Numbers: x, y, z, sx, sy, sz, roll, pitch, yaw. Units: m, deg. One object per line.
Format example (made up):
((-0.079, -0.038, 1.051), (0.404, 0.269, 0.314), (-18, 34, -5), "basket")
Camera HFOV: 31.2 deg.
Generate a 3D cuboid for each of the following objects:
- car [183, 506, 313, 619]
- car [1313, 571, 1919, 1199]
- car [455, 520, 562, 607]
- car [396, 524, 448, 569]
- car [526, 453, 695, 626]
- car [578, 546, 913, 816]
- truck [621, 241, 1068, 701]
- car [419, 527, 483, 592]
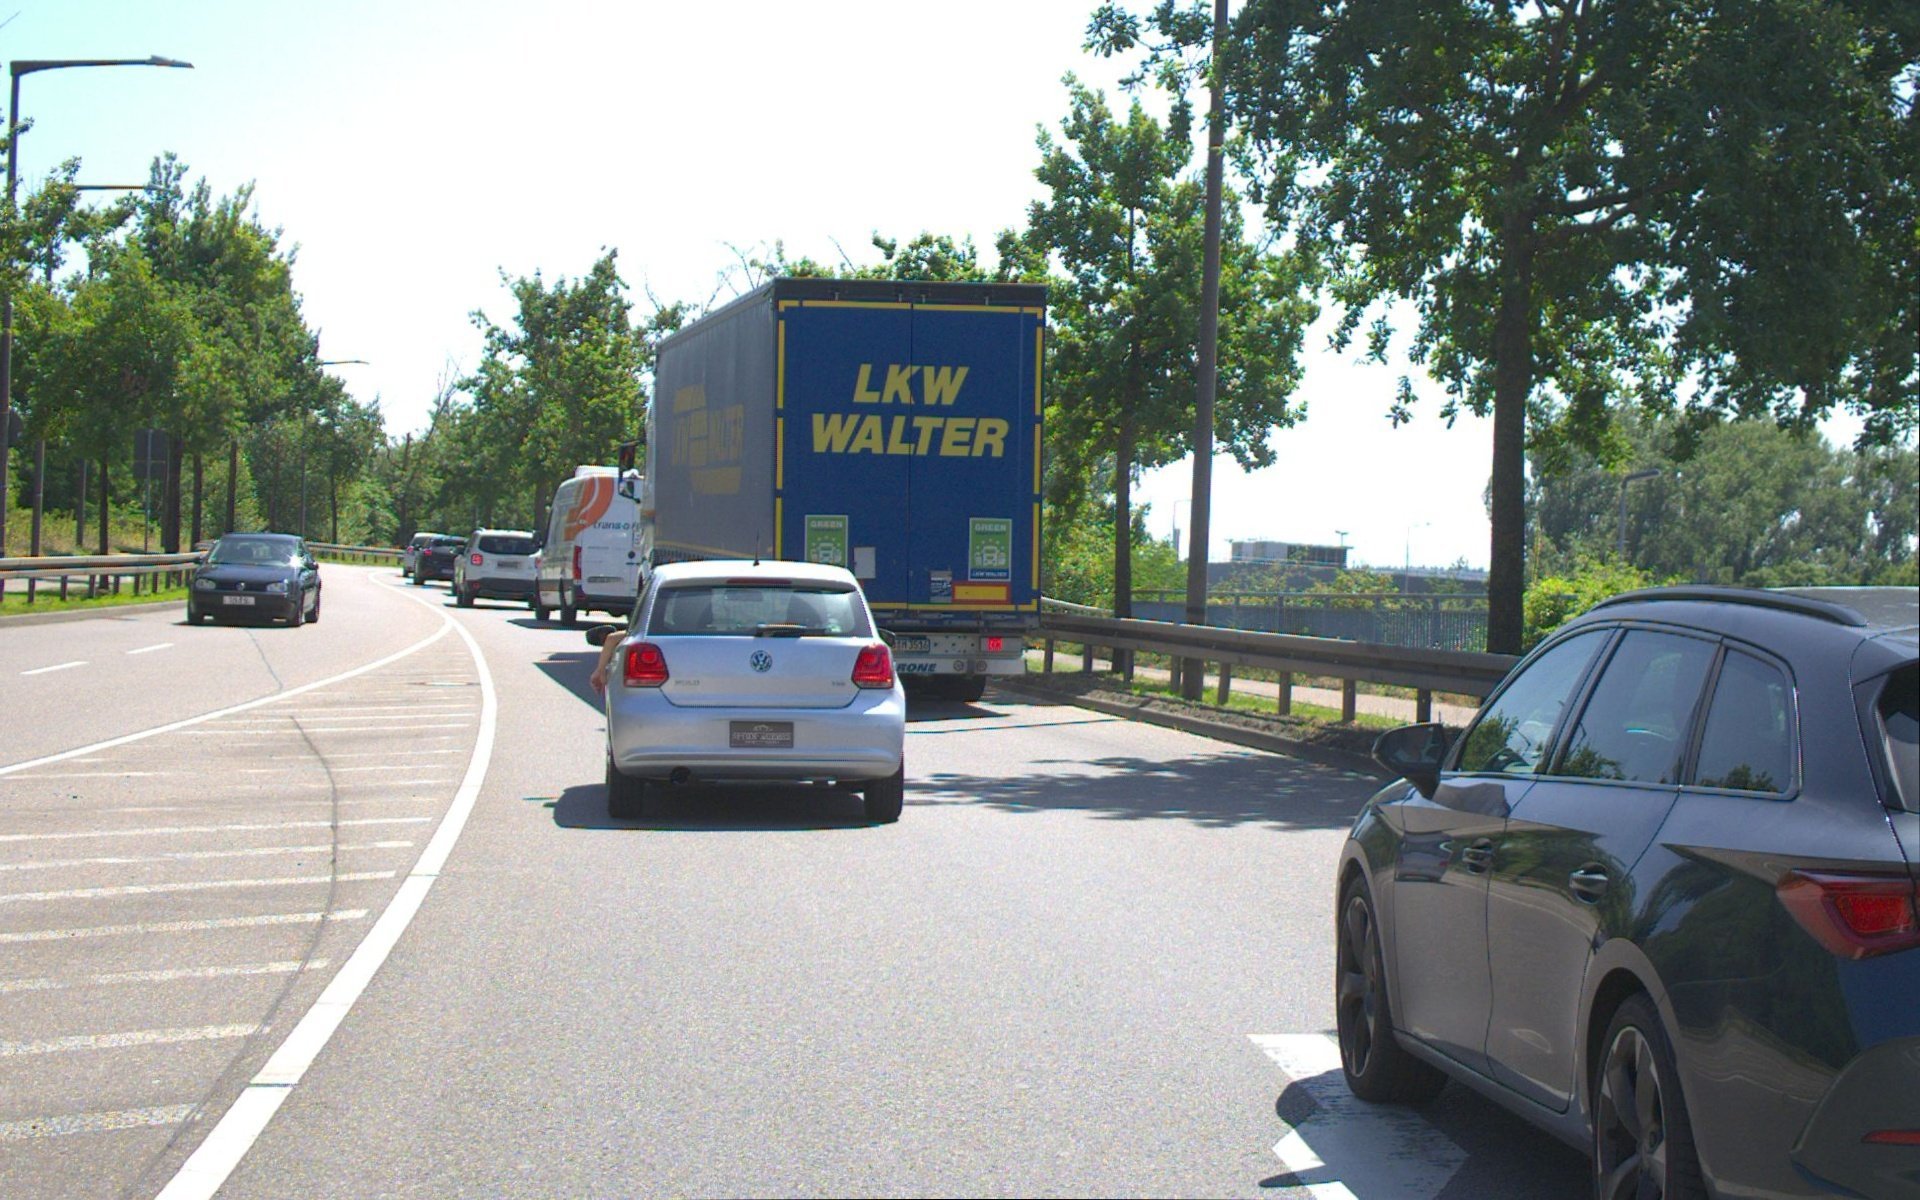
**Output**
((-11.243, -0.624, 54.452), (1.678, 1.665, 3.756), (1, 2, -7), "car")
((2.018, 0.724, 7.812), (1.604, 1.451, 4.236), (1, -1, -5), "car")
((-9.706, -0.754, 73.695), (1.903, 1.712, 4.224), (1, -1, -12), "car")
((-17.416, -1.724, 111.400), (1.607, 1.355, 3.663), (1, 0, -8), "car")
((-6.331, -1.084, 61.528), (2.175, 2.890, 6.360), (1, 1, -13), "car")
((-1.349, 0.464, 20.395), (1.645, 1.434, 3.537), (1, -1, -9), "car")
((-1.850, -1.187, 39.934), (2.832, 4.184, 16.478), (1, 0, -10), "truck")
((-14.465, -1.124, 97.560), (1.721, 1.720, 4.001), (1, -1, -9), "car")
